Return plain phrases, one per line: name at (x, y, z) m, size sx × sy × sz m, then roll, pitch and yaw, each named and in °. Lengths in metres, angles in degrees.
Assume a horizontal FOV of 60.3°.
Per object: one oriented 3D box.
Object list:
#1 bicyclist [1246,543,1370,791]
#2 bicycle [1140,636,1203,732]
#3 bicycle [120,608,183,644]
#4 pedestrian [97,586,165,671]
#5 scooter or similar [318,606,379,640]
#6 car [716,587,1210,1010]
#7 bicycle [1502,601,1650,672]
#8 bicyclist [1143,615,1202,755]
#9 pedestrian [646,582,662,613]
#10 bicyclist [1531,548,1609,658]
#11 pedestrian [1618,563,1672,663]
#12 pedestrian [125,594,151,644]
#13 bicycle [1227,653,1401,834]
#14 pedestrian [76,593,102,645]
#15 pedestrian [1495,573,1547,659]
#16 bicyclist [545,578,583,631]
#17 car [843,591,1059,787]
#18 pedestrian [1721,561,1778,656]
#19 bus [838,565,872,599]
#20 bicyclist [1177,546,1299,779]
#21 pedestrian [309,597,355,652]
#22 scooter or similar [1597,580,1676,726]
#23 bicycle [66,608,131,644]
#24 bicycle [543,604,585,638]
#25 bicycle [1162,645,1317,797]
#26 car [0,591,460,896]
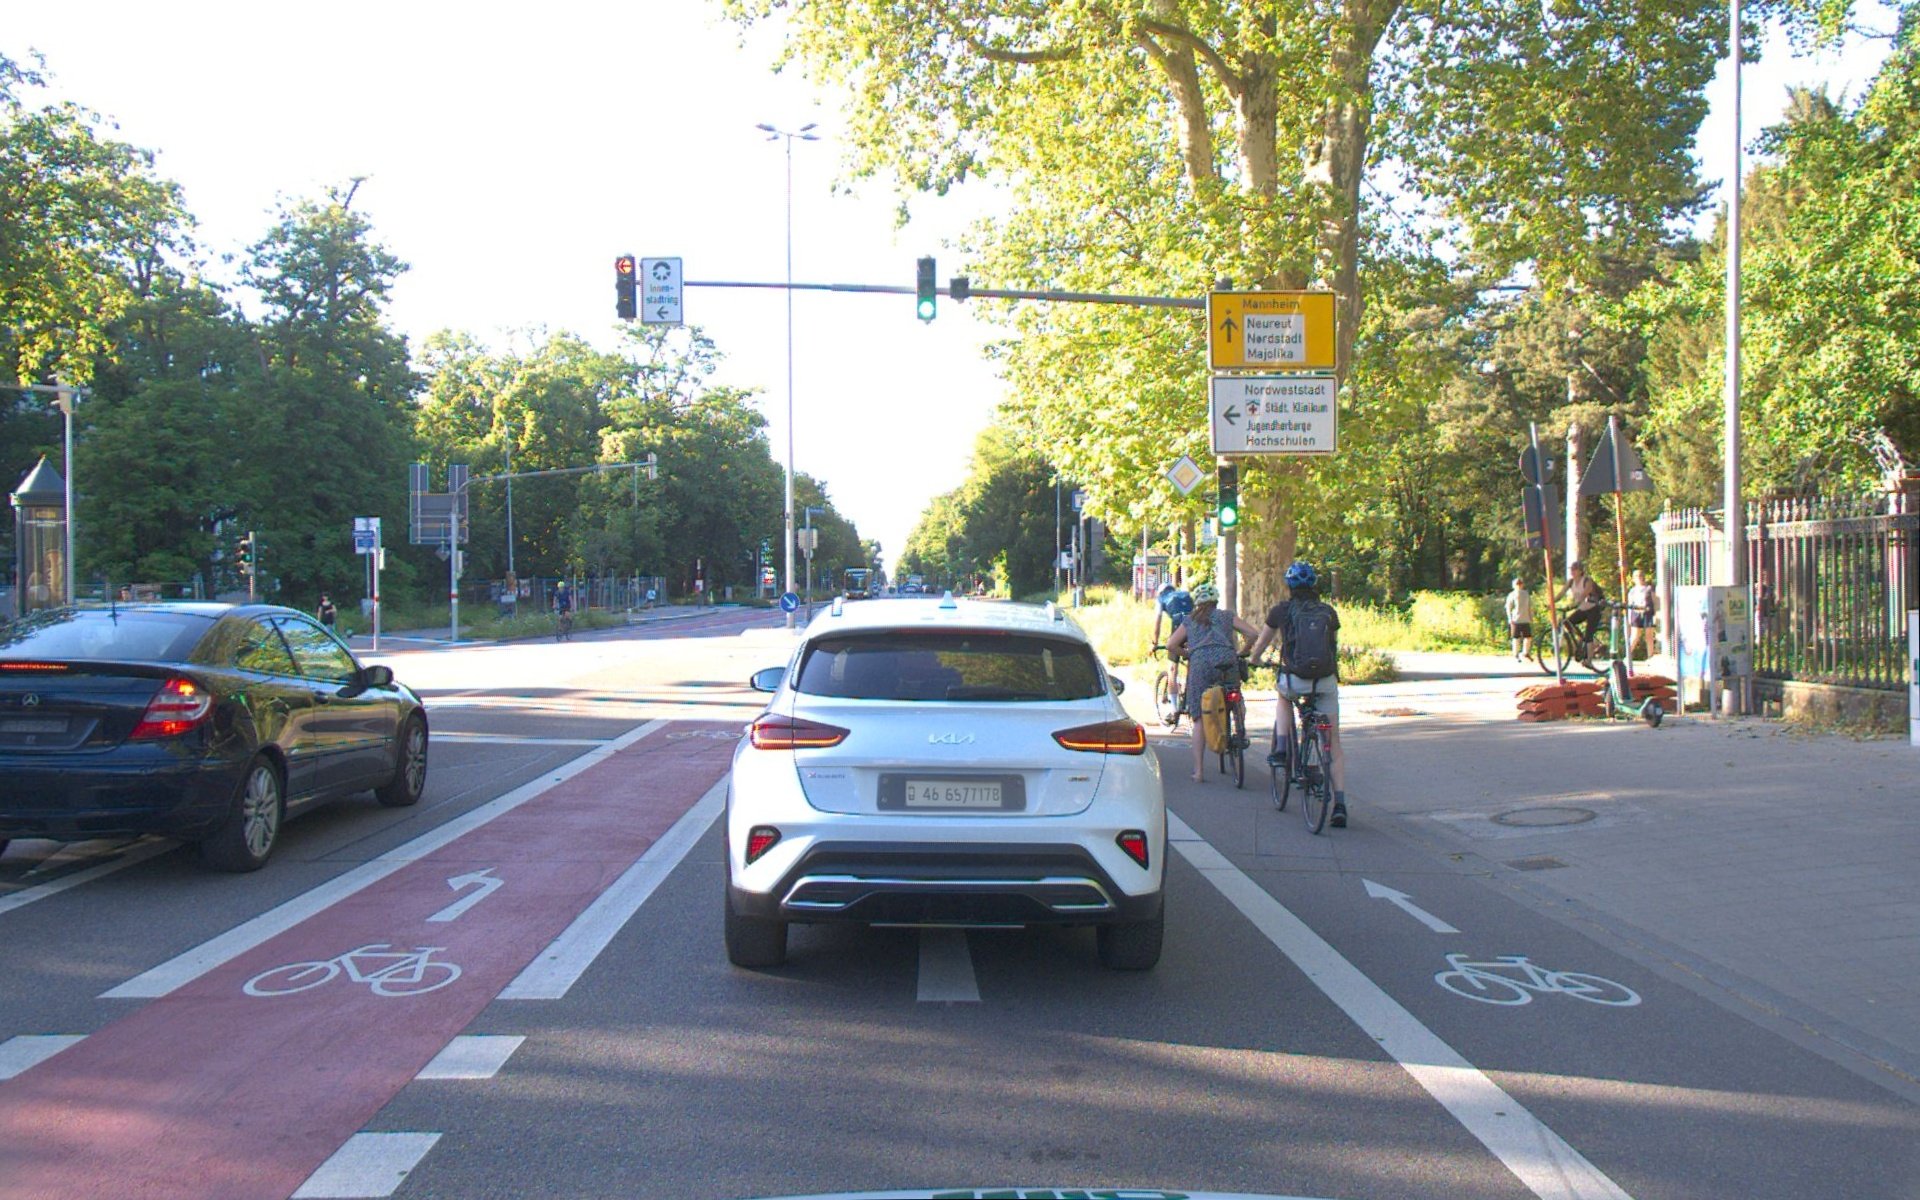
bicyclist at (2.359, 0.439, 11.285) m, size 0.652 × 1.630 × 0.720 m, roll 1°, pitch 0°, yaw -2°
bicycle at (2.343, 0.914, 18.421) m, size 0.393 × 0.973 × 1.550 m, roll -3°, pitch 0°, yaw -2°
bicycle at (-26.173, 0.840, 53.534) m, size 1.826 × 1.168 × 0.290 m, roll 0°, pitch 0°, yaw -8°
pedestrian at (-20.264, 0.694, 40.451) m, size 0.974 × 2.049 × 1.191 m, roll 0°, pitch 0°, yaw 4°
scooter or similar at (-20.716, 0.764, 56.021) m, size 0.697 × 1.144 × 1.916 m, roll 0°, pitch 0°, yaw 32°
car at (-0.057, 0.698, 7.938) m, size 1.785 × 1.506 × 3.934 m, roll 0°, pitch 1°, yaw -2°
bicycle at (9.455, 0.543, 25.402) m, size 2.057 × 0.993 × 0.748 m, roll -2°, pitch 1°, yaw -14°
bicyclist at (2.341, 0.924, 18.294) m, size 0.543 × 1.504 × 0.716 m, roll 0°, pitch 0°, yaw -1°
pedestrian at (-17.683, -0.147, 95.543) m, size 0.769 × 1.817 × 0.751 m, roll 0°, pitch 0°, yaw 0°
bicyclist at (9.359, 0.042, 25.382) m, size 0.832 × 1.641 × 0.733 m, roll -2°, pitch 0°, yaw -13°
pedestrian at (11.968, 0.230, 28.922) m, size 0.675 × 1.729 × 0.644 m, roll 0°, pitch 0°, yaw -1°
pedestrian at (-26.536, 0.607, 53.396) m, size 0.617 × 1.608 × 0.444 m, roll 0°, pitch 0°, yaw -11°
bicycle at (2.354, 0.922, 11.262) m, size 0.655 × 1.027 × 2.080 m, roll 1°, pitch 0°, yaw -2°
pedestrian at (-28.252, 0.607, 53.643) m, size 0.617 × 1.671 × 0.444 m, roll 0°, pitch 0°, yaw -11°
pedestrian at (10.238, 0.282, 30.188) m, size 0.802 × 1.544 × 0.915 m, roll 0°, pitch 0°, yaw 25°
bicyclist at (-12.557, 0.144, 52.491) m, size 0.857 × 1.636 × 1.188 m, roll -1°, pitch 0°, yaw 1°
car at (-0.145, 0.698, 14.931) m, size 1.694 × 1.509 × 3.515 m, roll -1°, pitch 1°, yaw -3°
pedestrian at (14.463, 0.151, 30.306) m, size 0.808 × 1.711 × 0.694 m, roll 0°, pitch 0°, yaw 13°
bus at (-12.021, -2.045, 188.410) m, size 3.667 × 3.737 × 13.230 m, roll -1°, pitch 1°, yaw -4°
bicyclist at (2.269, 0.490, 13.629) m, size 0.738 × 1.827 × 1.164 m, roll 1°, pitch 0°, yaw -2°
pedestrian at (-19.072, 0.729, 50.228) m, size 1.067 × 1.631 × 0.999 m, roll -1°, pitch 0°, yaw -7°
scooter or similar at (6.500, 0.485, 15.926) m, size 0.223 × 1.350 × 1.171 m, roll -1°, pitch 0°, yaw -2°
bicycle at (-28.021, 0.840, 53.825) m, size 1.826 × 1.168 × 0.442 m, roll 0°, pitch 0°, yaw -8°
bicycle at (-12.548, 0.653, 52.511) m, size 0.650 × 1.006 × 2.504 m, roll -1°, pitch 1°, yaw 1°
bicycle at (2.255, 0.945, 13.699) m, size 0.742 × 1.031 × 2.568 m, roll 1°, pitch 0°, yaw -2°
car at (-4.513, 0.686, 10.076) m, size 1.670 × 1.429 × 4.264 m, roll -1°, pitch 1°, yaw -1°
